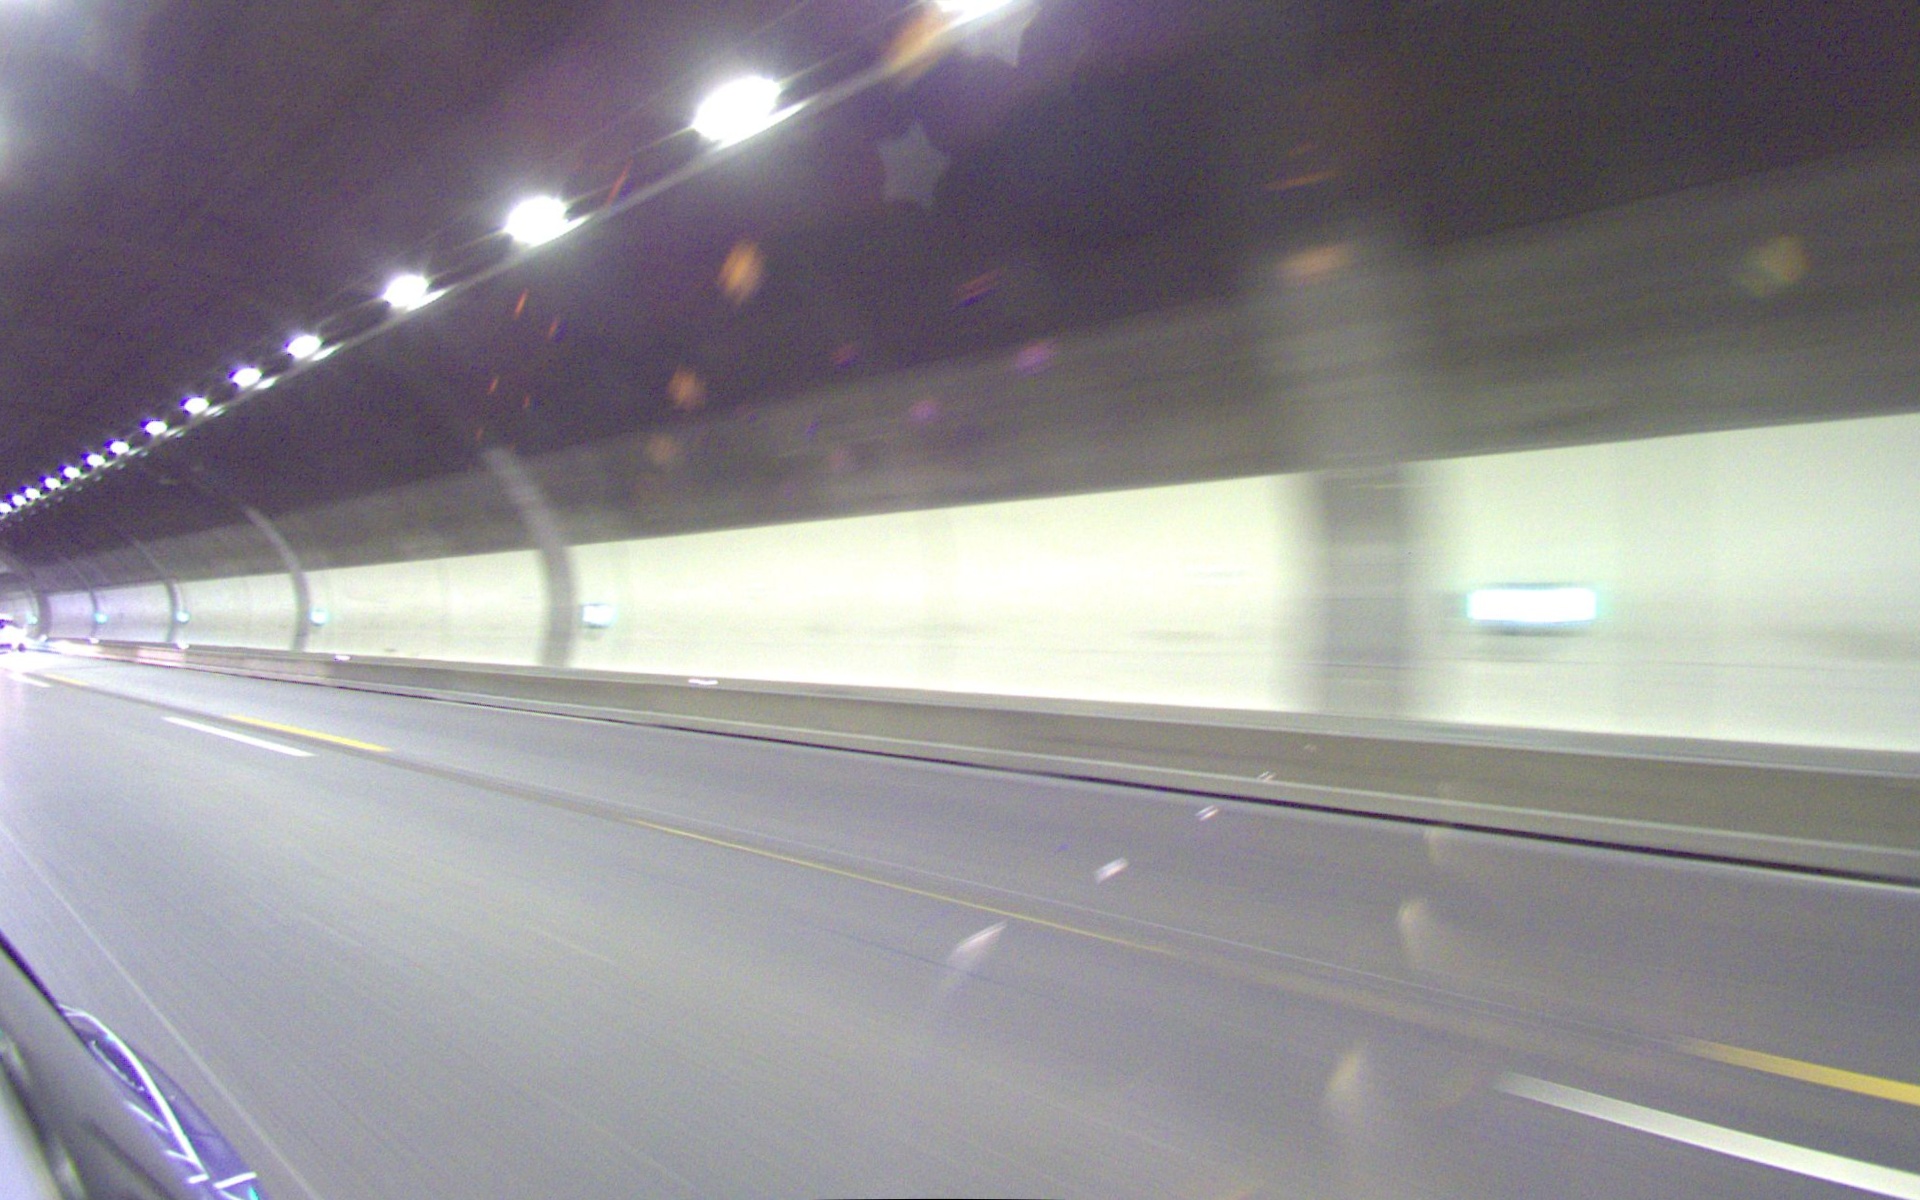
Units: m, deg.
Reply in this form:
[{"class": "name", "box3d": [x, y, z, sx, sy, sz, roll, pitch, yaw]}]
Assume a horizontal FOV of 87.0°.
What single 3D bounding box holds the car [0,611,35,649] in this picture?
[{"class": "car", "box3d": [-41.976, 1.295, 44.024, 4.849, 1.551, 1.973, 0, 3, 41]}]
